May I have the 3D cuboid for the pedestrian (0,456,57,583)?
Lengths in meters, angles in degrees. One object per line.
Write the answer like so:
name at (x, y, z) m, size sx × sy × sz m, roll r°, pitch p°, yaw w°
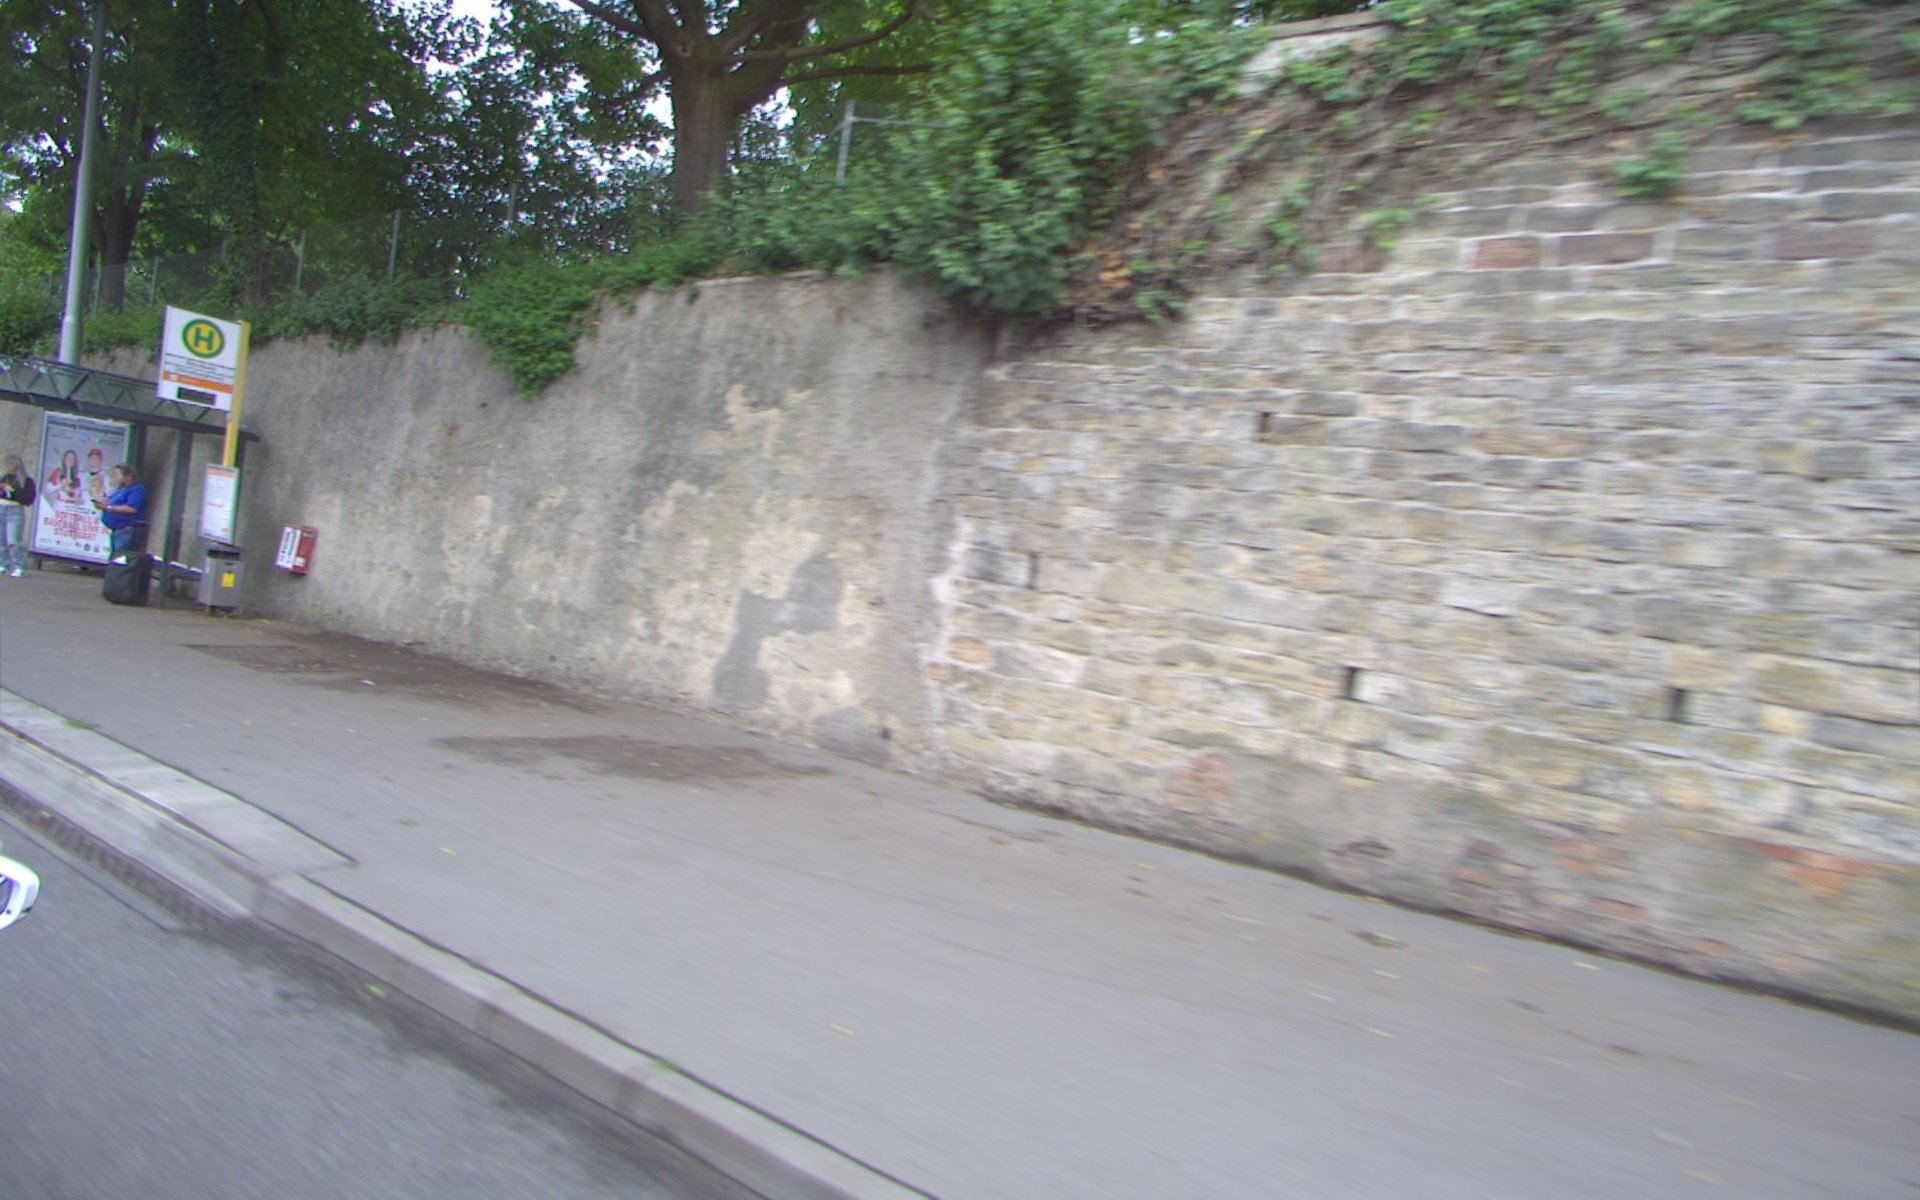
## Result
pedestrian at (-12.660, -1.086, 13.297) m, size 0.726 × 1.609 × 0.770 m, roll 6°, pitch 3°, yaw -17°

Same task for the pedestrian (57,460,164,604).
pedestrian at (-10.508, -0.830, 12.455) m, size 0.620 × 1.663 × 0.722 m, roll 7°, pitch 1°, yaw 27°

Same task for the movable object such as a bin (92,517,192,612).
movable object such as a bin at (-9.936, -0.423, 12.223) m, size 0.616 × 1.033 × 0.676 m, roll 8°, pitch 1°, yaw 27°
